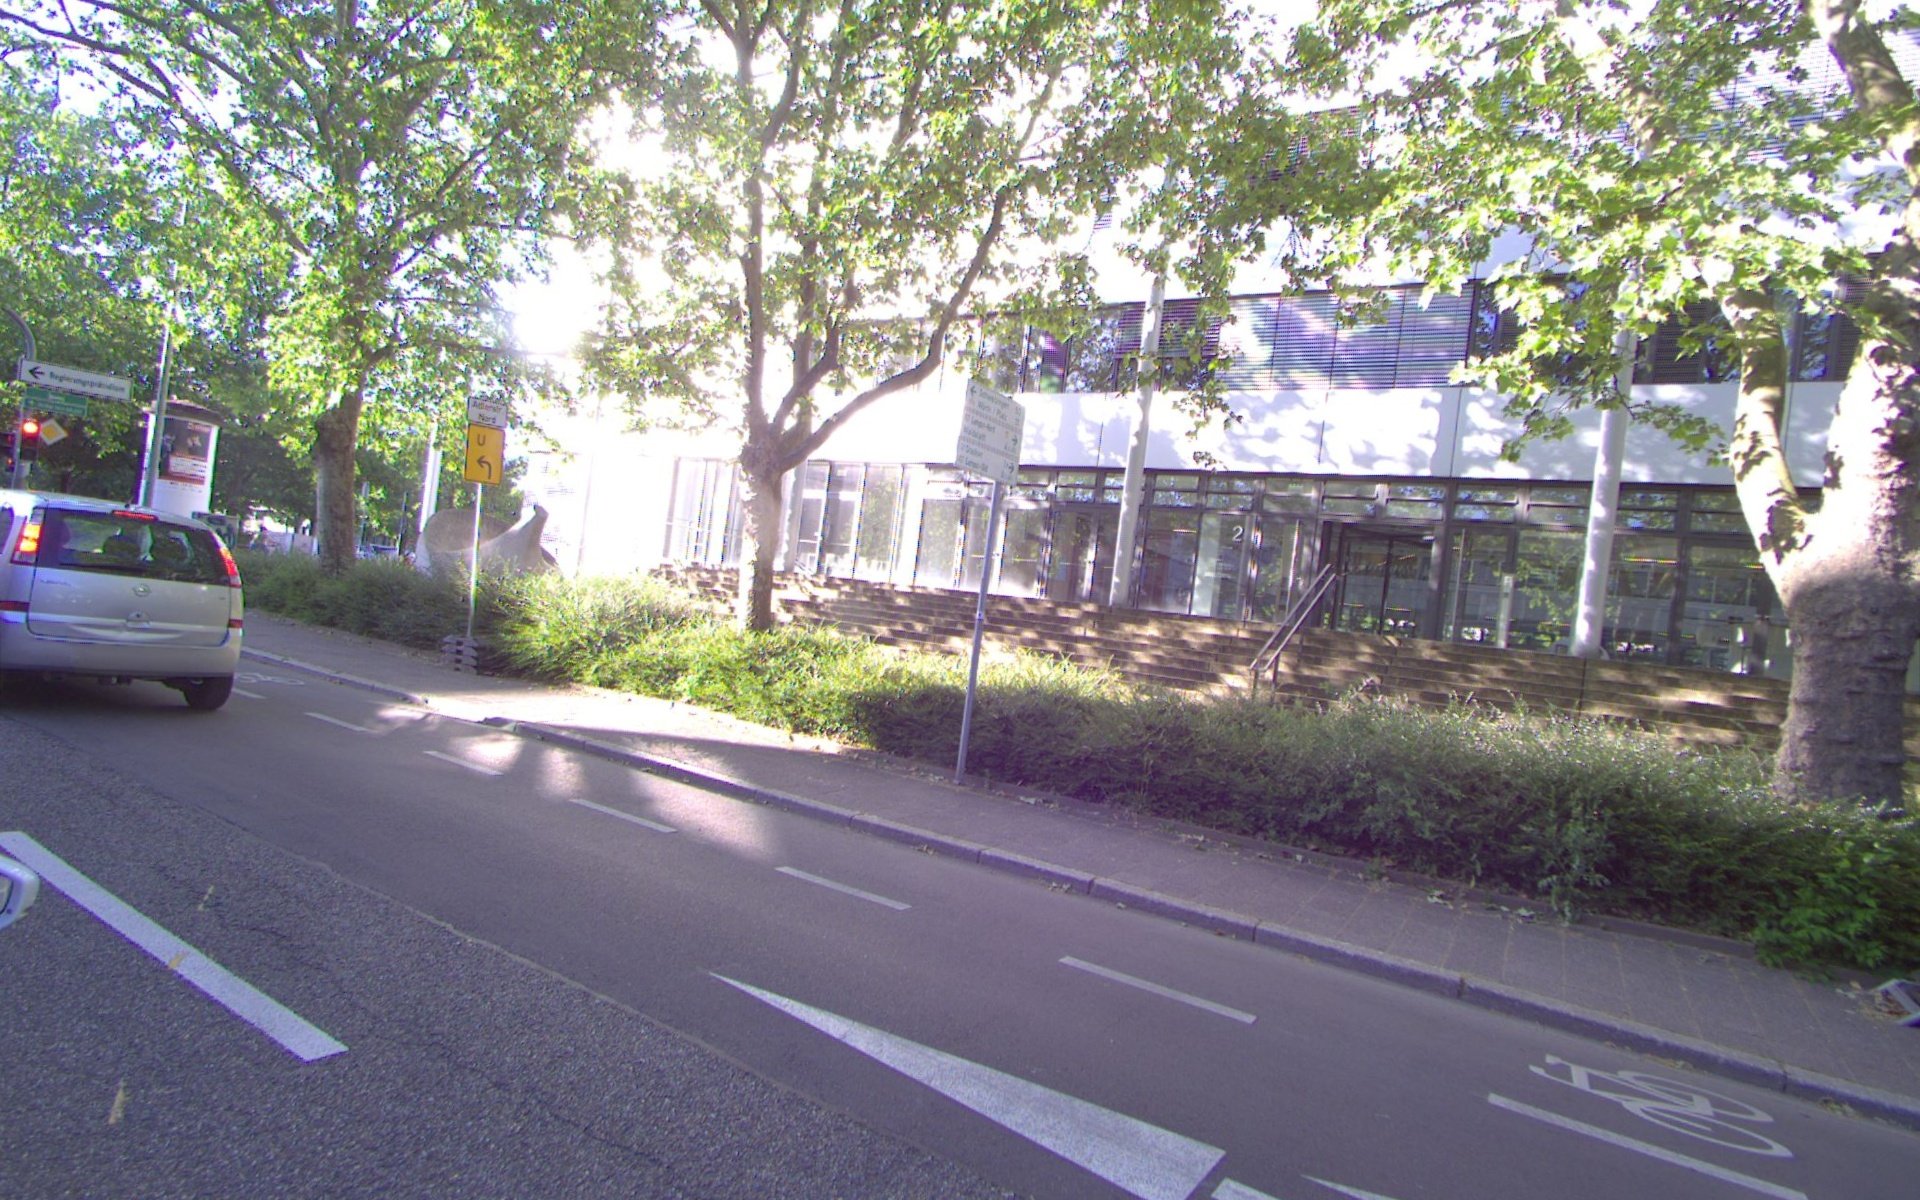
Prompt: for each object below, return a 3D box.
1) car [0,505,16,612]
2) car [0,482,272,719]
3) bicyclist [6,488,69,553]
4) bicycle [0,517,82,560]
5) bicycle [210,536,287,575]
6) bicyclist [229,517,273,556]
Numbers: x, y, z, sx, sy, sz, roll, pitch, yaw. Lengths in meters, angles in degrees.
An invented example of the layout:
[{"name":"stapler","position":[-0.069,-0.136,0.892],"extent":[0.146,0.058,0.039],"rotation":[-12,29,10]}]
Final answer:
[{"name":"car","position":[-13.982,-0.727,12.594],"extent":[4.592,1.481,1.917],"rotation":[7,-3,32]},{"name":"car","position":[-7.813,-0.097,8.645],"extent":[3.797,1.621,1.704],"rotation":[7,-2,34]},{"name":"bicyclist","position":[-26.304,-2.266,28.702],"extent":[0.597,1.662,1.017],"rotation":[7,-1,26]},{"name":"bicycle","position":[-26.358,-1.750,28.706],"extent":[0.603,0.957,1.800],"rotation":[7,-2,26]},{"name":"bicycle","position":[-24.419,-1.523,34.559],"extent":[0.641,1.040,1.983],"rotation":[7,-1,33]},{"name":"bicyclist","position":[-24.349,-2.182,34.548],"extent":[0.610,1.168,0.992],"rotation":[7,-1,33]}]
